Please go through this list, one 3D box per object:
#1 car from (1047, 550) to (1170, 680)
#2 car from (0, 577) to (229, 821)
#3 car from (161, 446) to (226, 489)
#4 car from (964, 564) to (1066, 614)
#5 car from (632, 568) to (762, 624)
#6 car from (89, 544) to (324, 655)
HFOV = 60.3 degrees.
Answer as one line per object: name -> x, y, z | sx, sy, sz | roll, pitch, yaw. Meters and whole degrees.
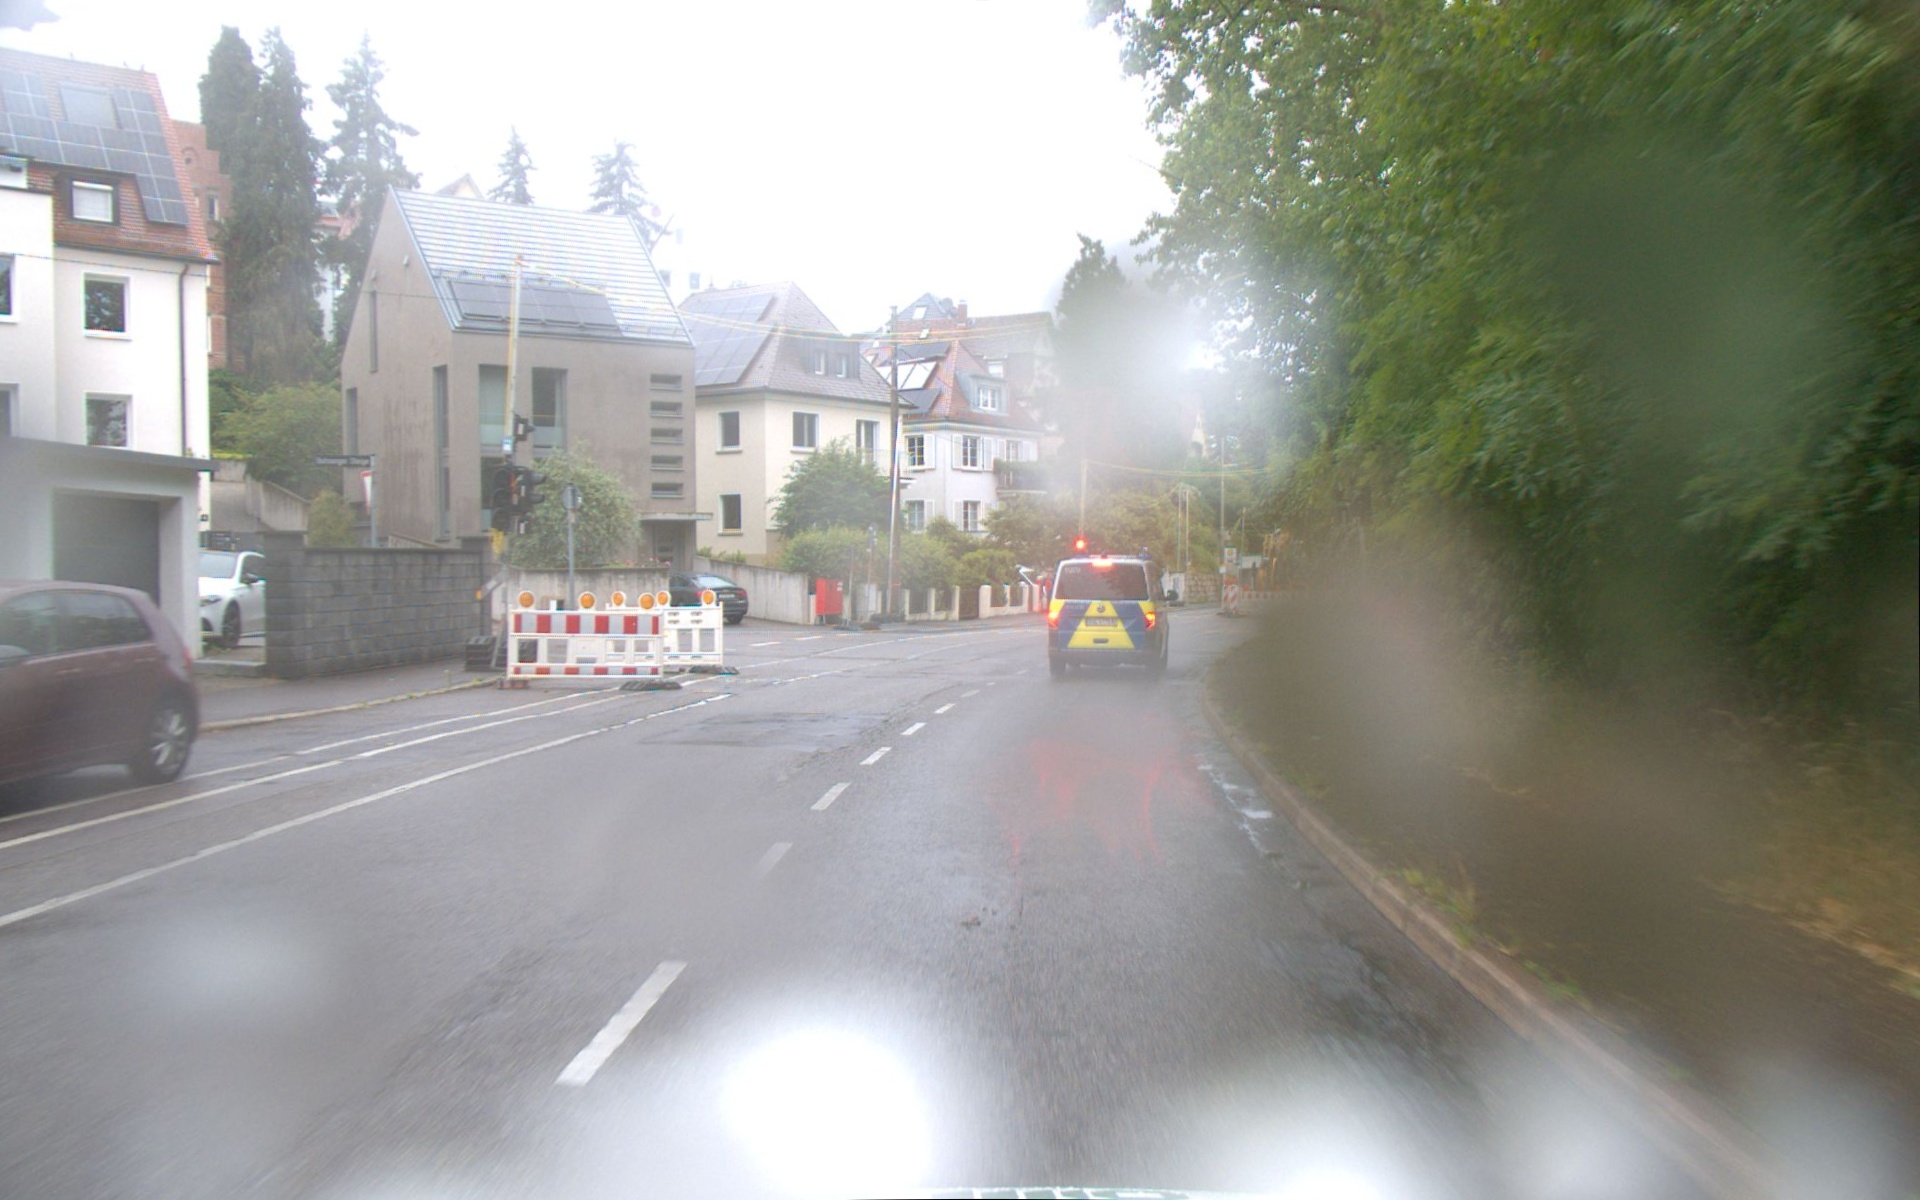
car -> 2.632, 0.205, 28.509 | 1.951, 2.049, 4.405 | 0, 1, 7
car -> -6.567, 0.596, 10.649 | 1.582, 1.465, 4.233 | 0, 1, 4
car -> -31.444, -5.401, 67.843 | 1.762, 1.489, 3.570 | -1, 1, -36
car -> 2.346, -0.485, 70.370 | 3.910, 2.049, 1.828 | 1, 1, 27
car -> -7.433, -0.153, 46.544 | 1.823, 1.469, 3.940 | 0, 2, -41
car -> -10.876, -0.022, 24.160 | 1.739, 1.489, 3.617 | 0, 1, 0
